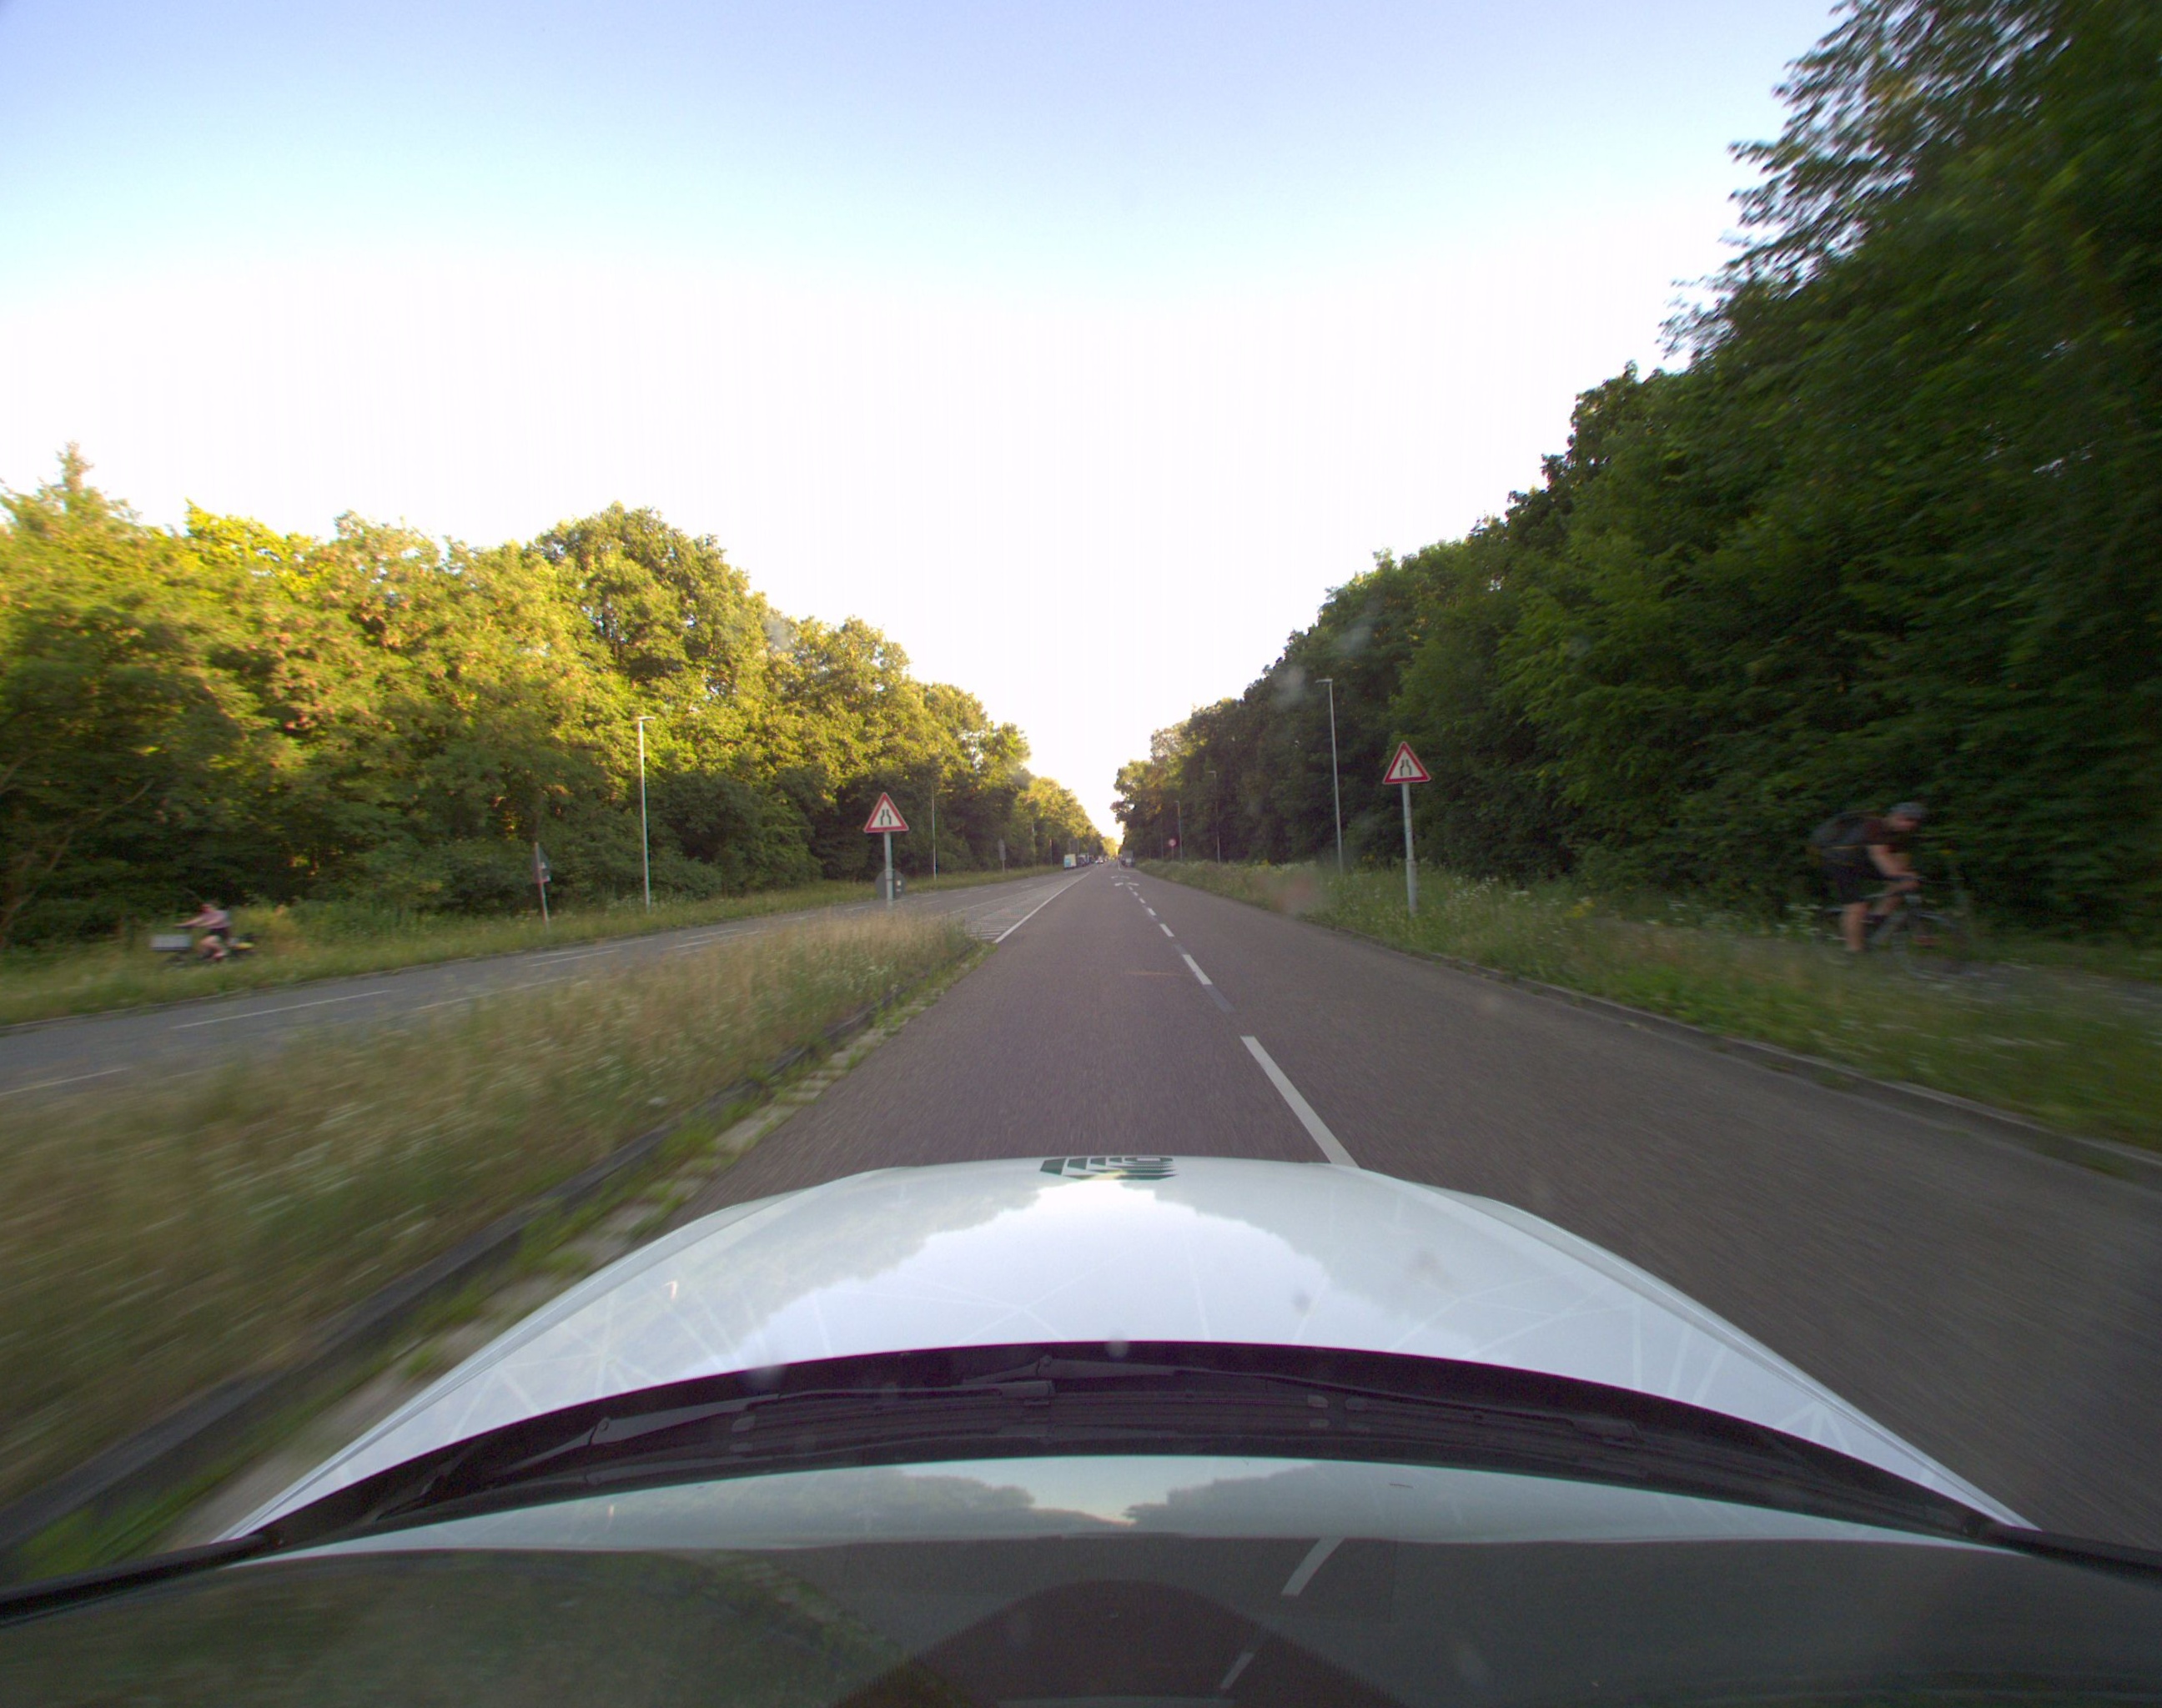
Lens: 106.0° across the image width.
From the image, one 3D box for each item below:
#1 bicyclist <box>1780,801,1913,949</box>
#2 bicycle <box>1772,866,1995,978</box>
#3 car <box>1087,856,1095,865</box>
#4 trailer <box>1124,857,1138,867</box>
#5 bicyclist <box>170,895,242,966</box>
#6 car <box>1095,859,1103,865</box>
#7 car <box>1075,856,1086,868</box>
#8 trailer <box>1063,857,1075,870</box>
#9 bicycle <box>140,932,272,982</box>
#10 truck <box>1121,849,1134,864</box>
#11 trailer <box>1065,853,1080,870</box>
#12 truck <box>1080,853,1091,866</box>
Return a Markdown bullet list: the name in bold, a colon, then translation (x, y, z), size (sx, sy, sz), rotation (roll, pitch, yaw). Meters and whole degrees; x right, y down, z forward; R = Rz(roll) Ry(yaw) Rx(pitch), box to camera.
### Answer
- **bicyclist**: translation (8.007, 0.208, 8.556), size (0.600, 1.455, 0.780), rotation (-3, -1, 3)
- **bicycle**: translation (8.058, 0.637, 8.299), size (0.608, 0.995, 1.692), rotation (-3, -1, 3)
- **car**: translation (3.315, 1.963, 260.970), size (2.178, 2.788, 5.337), rotation (-3, 0, 2)
- **trailer**: translation (8.714, 1.344, 141.833), size (1.445, 1.662, 3.793), rotation (-3, -1, 15)
- **bicyclist**: translation (-18.806, 1.632, 17.512), size (0.583, 1.429, 0.823), rotation (-3, -1, 4)
- **car**: translation (5.083, 2.163, 231.156), size (2.054, 1.435, 4.470), rotation (-5, -1, 4)
- **car**: translation (-0.160, 1.820, 183.999), size (1.986, 2.364, 5.769), rotation (-5, -1, 2)
- **trailer**: translation (-2.083, 1.680, 142.323), size (1.810, 2.167, 4.144), rotation (-3, 0, 1)
- **bicycle**: translation (-18.768, 2.193, 17.536), size (0.583, 0.804, 1.961), rotation (-3, 0, 4)
- **truck**: translation (10.013, 0.544, 174.173), size (2.577, 3.255, 7.228), rotation (-1, -1, 4)
- **trailer**: translation (-1.630, 1.441, 157.939), size (2.317, 2.924, 5.629), rotation (-5, -1, 2)
- **truck**: translation (1.248, 1.611, 226.355), size (2.494, 3.328, 6.845), rotation (-3, 0, 2)
